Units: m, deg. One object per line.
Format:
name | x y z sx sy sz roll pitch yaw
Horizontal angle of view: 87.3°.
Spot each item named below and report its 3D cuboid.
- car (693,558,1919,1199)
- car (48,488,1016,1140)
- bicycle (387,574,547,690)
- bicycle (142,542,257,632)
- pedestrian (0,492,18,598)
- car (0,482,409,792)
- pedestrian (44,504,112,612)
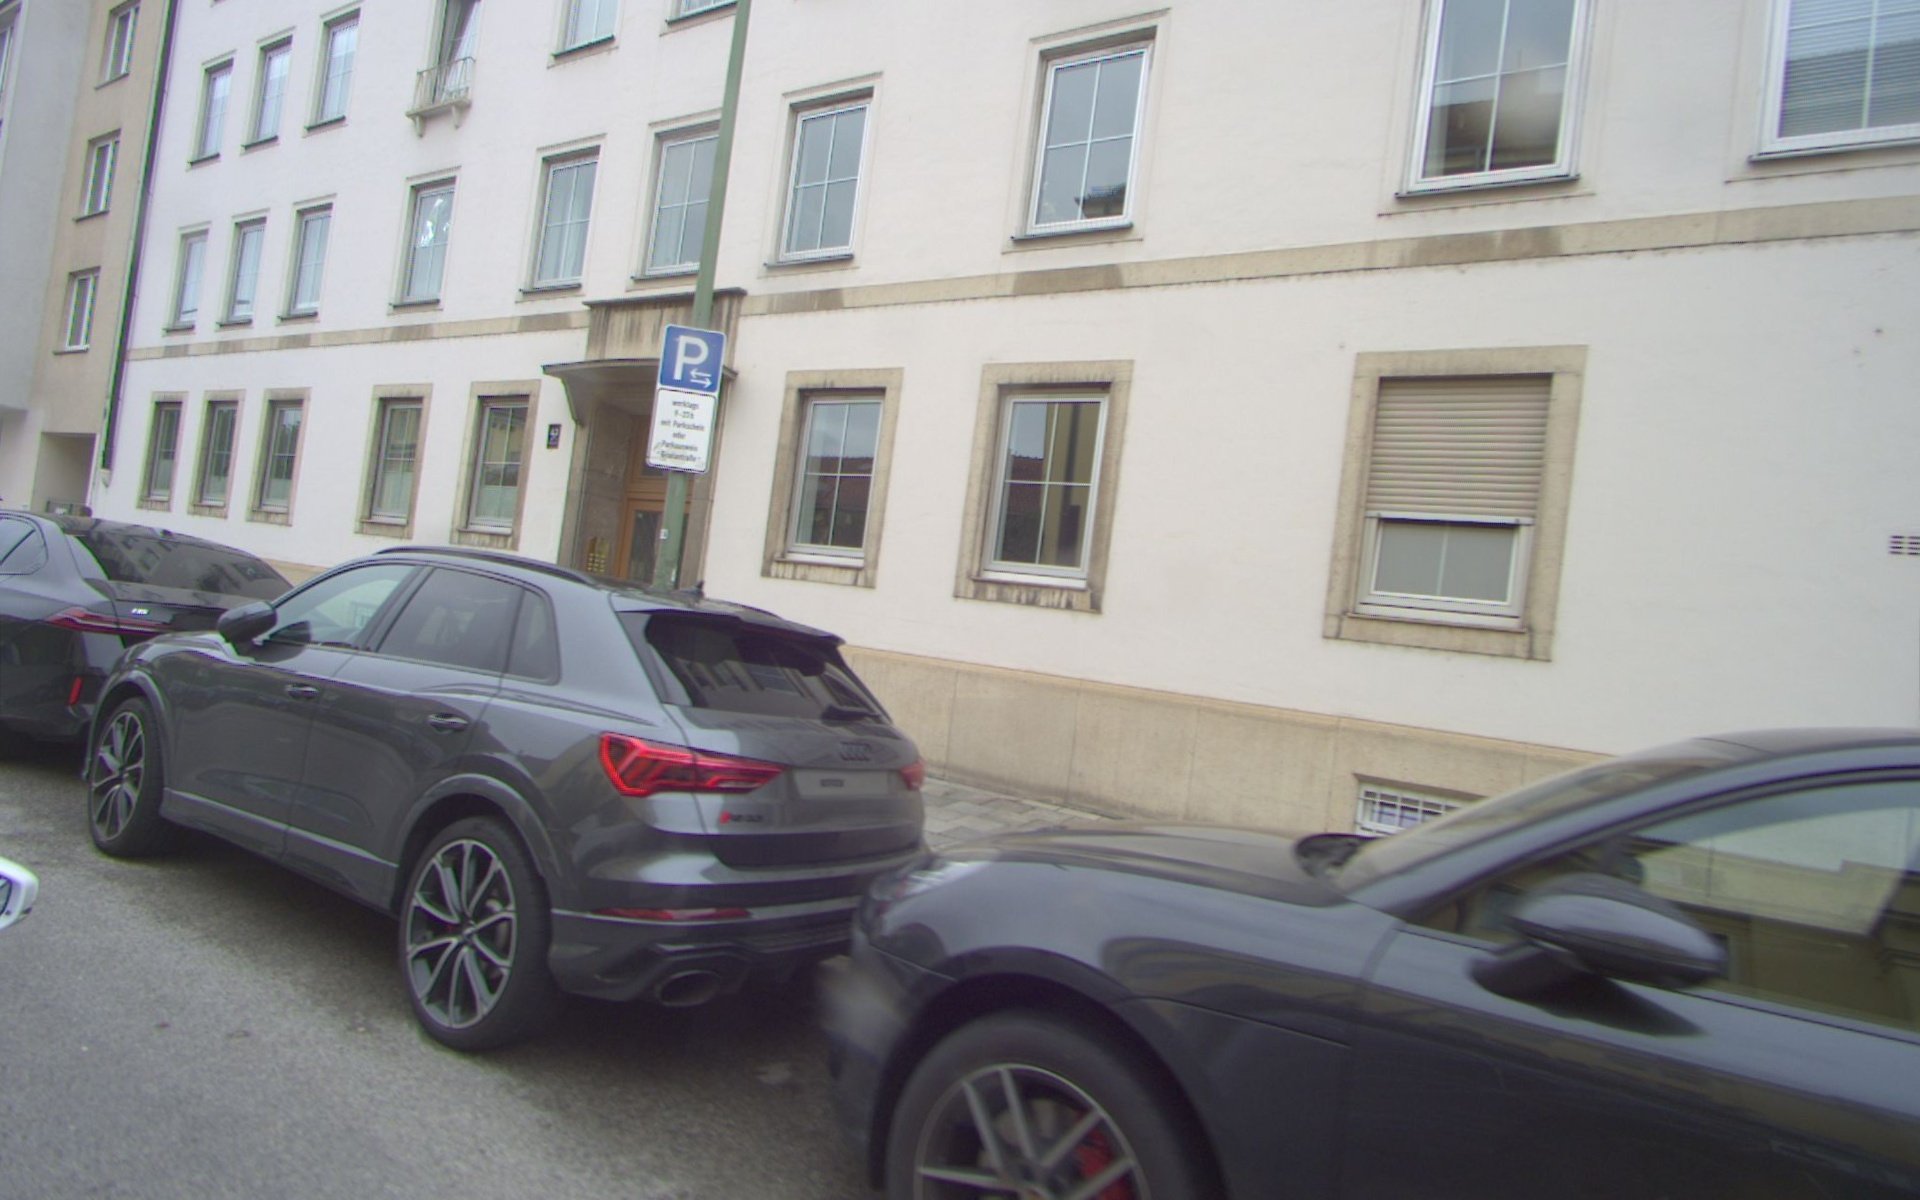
car | 1.682 1.005 2.147 4.259 1.601 1.783 6 -4 33
car | -2.099 0.562 4.573 4.201 1.601 1.784 6 -4 32
bicycle | -5.935 0.374 12.071 1.994 1.140 0.660 6 -1 31
bicycle | -11.974 -0.214 15.827 1.994 1.177 0.660 6 -1 31
pedestrian | -15.614 -0.921 16.027 0.620 1.674 0.597 7 0 31
car | -6.283 0.099 7.122 4.735 1.560 1.862 6 -4 31
pedestrian | -13.859 -0.662 15.807 0.551 1.604 0.532 7 0 31
